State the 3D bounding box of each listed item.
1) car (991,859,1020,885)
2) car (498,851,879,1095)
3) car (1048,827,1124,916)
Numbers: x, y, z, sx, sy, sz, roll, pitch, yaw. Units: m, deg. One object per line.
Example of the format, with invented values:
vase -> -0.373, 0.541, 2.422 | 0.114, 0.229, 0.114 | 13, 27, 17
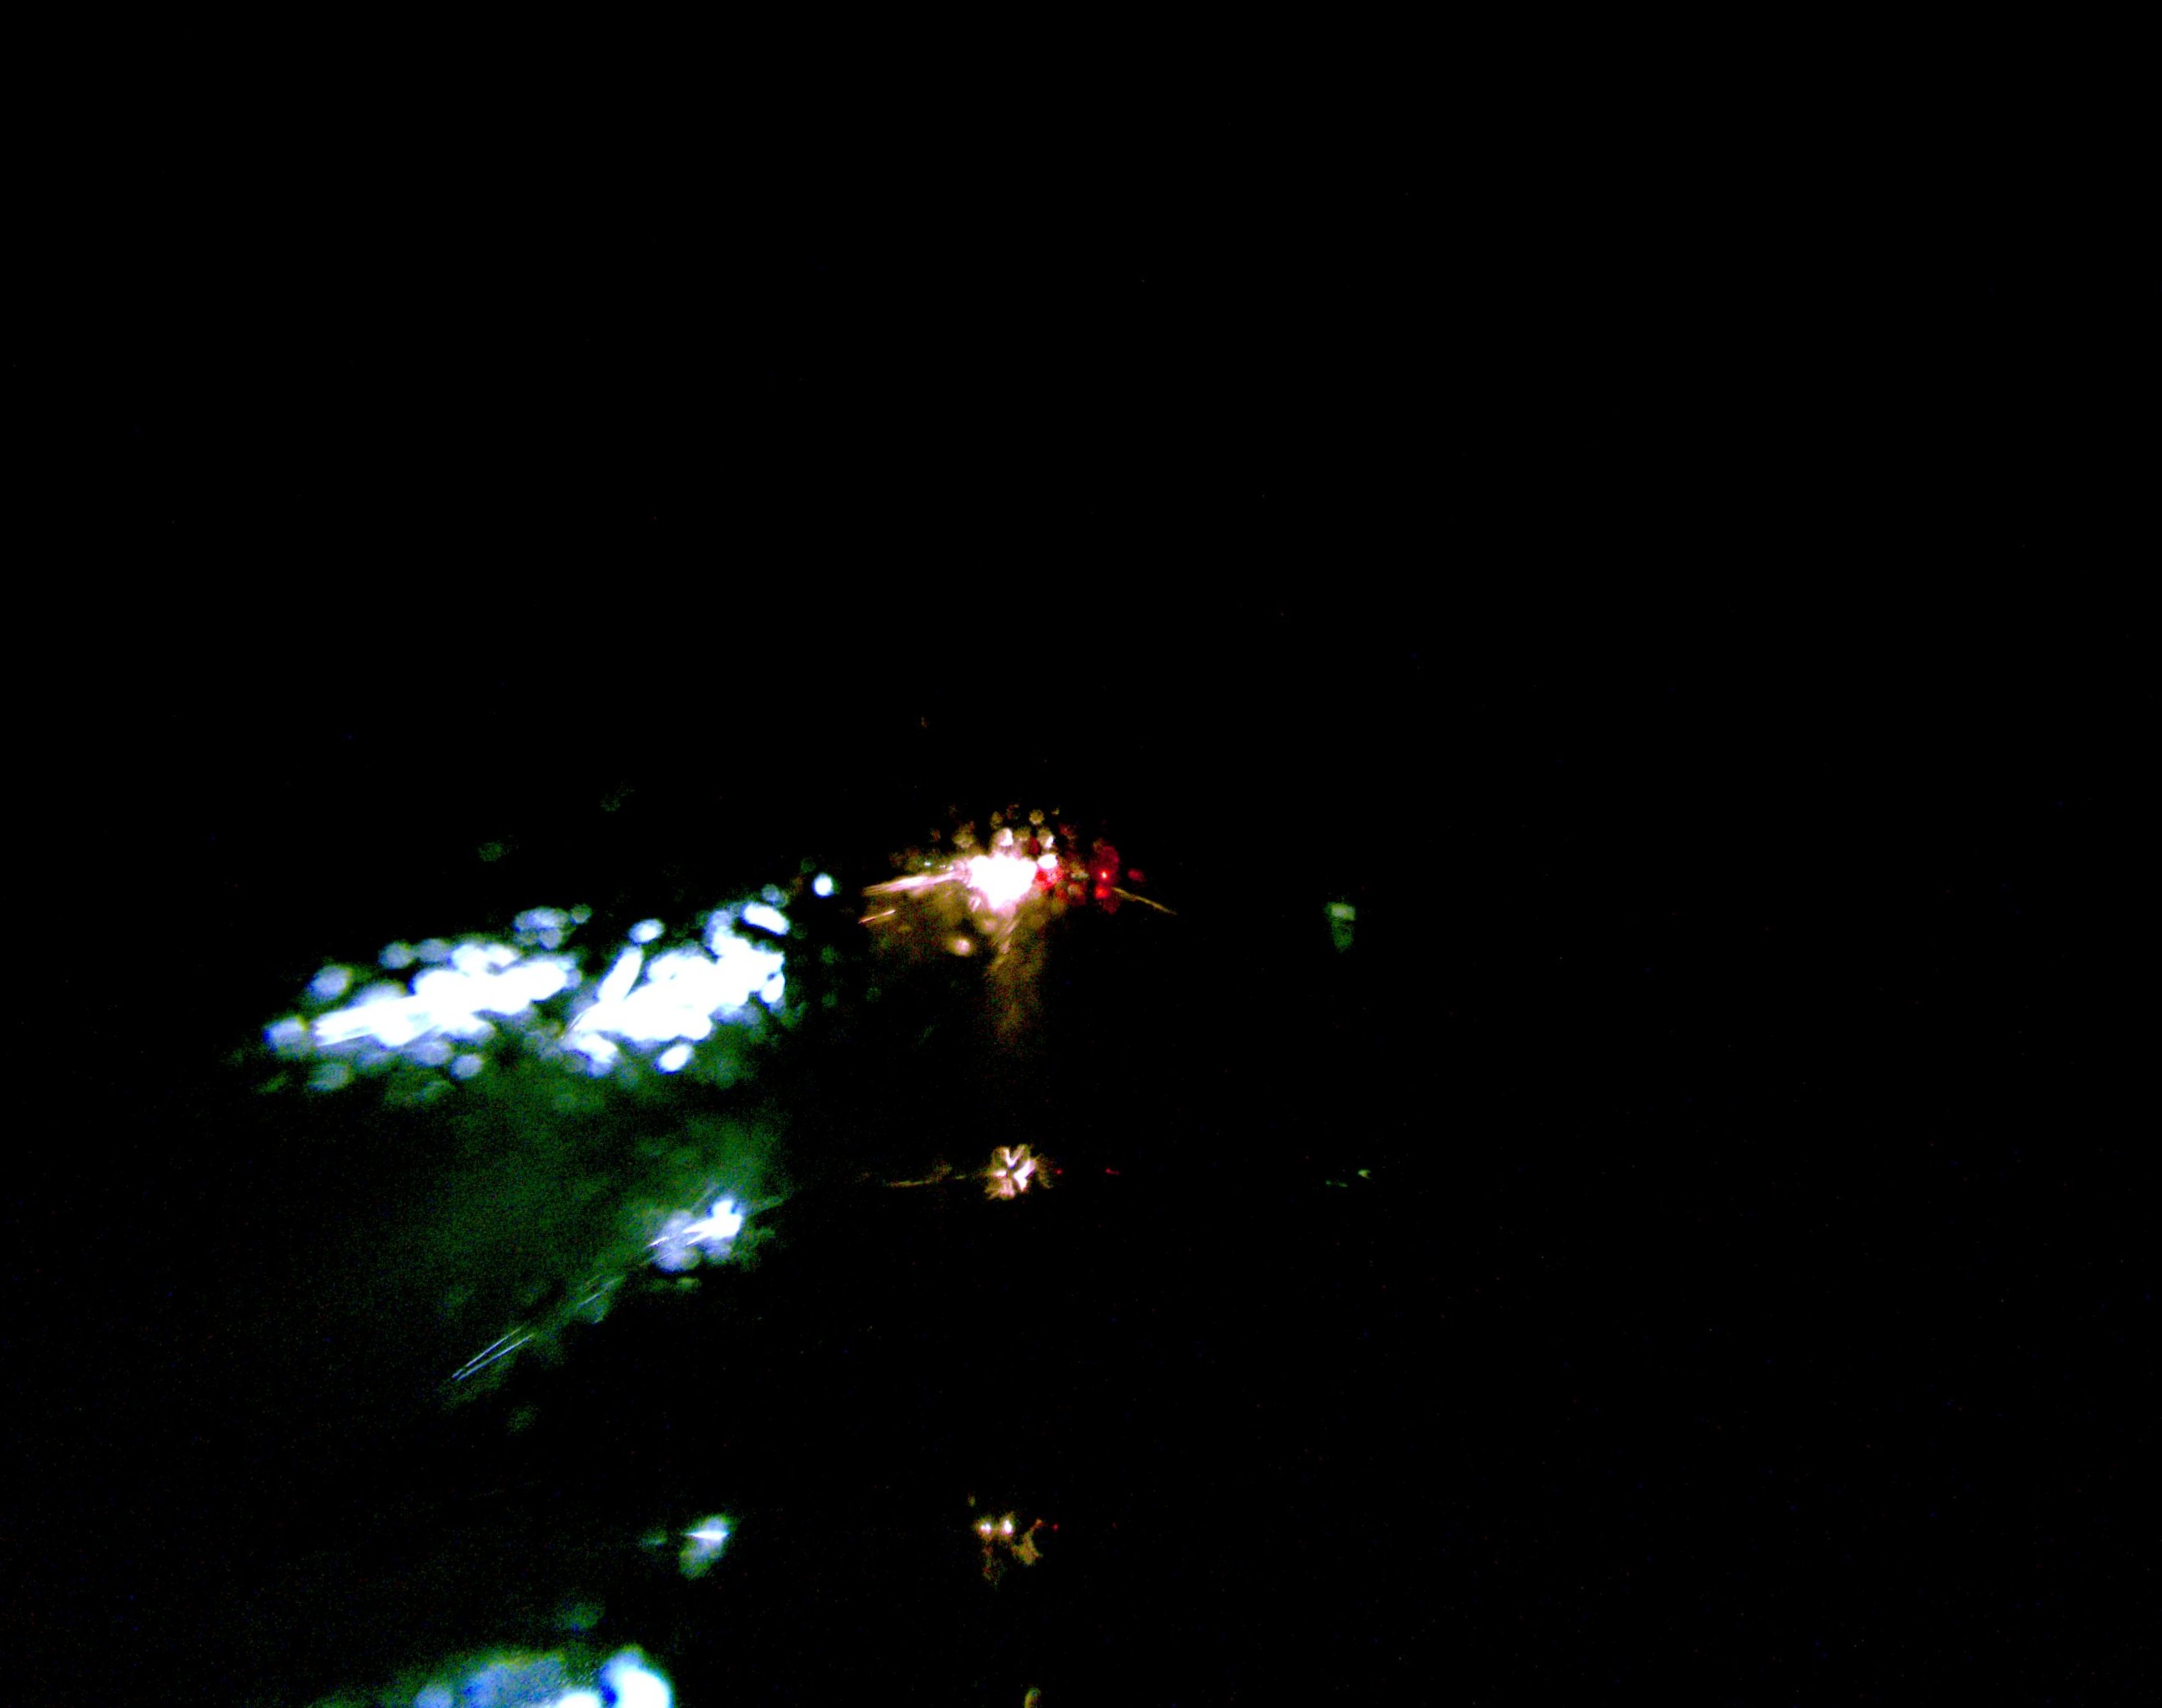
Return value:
car -> -4.915, 1.131, 53.081 | 1.559, 1.525, 3.484 | -4, 0, -1
car -> -3.072, 0.792, 7.266 | 1.590, 1.510, 3.599 | -3, 1, -1
car -> 0.113, 0.512, 26.384 | 2.174, 2.557, 4.506 | 2, 0, -1
